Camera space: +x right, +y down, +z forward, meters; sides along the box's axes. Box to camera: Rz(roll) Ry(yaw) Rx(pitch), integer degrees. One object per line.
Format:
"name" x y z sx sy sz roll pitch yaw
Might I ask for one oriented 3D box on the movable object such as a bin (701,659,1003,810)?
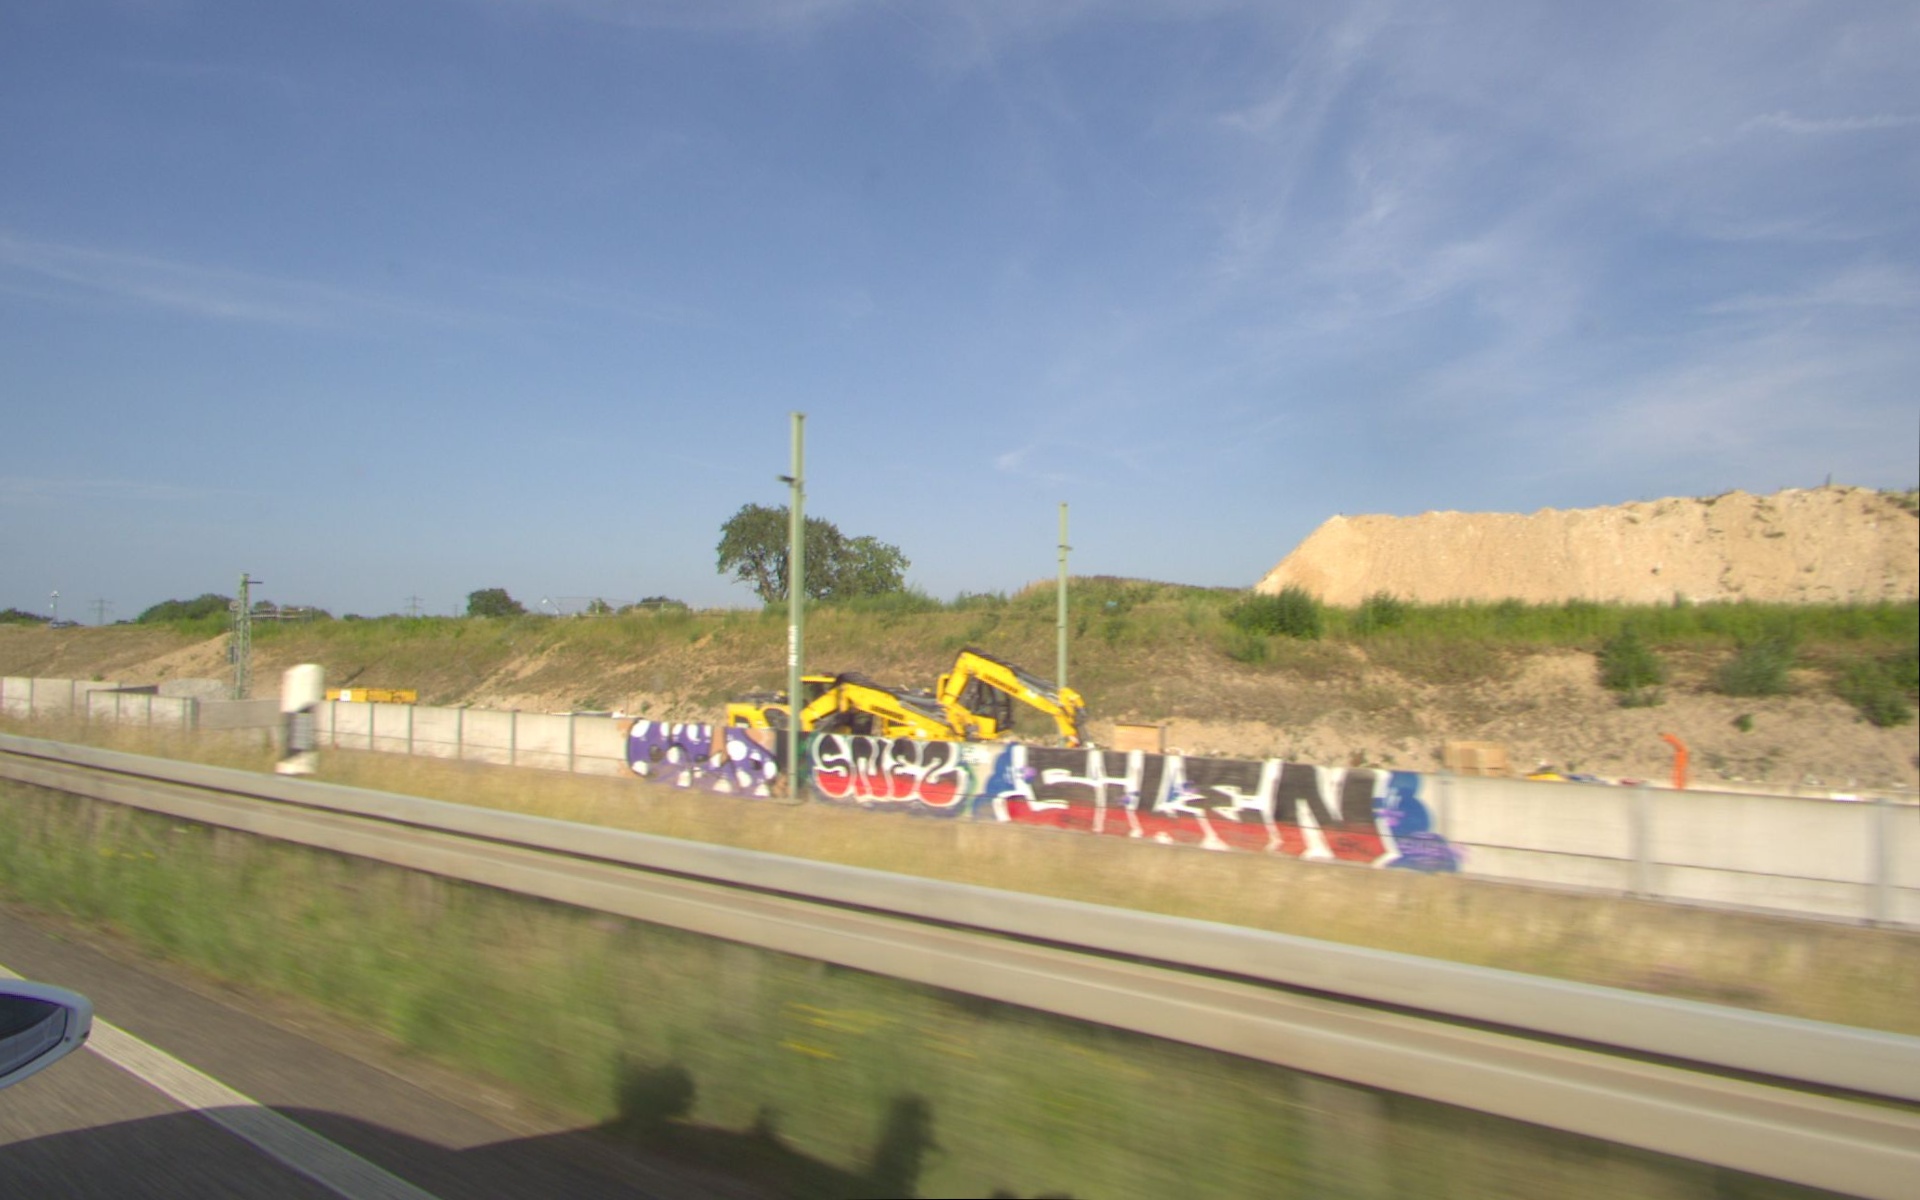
"movable object such as a bin" -2.977 3.278 26.263 7.957 3.280 2.618 -1 -2 32

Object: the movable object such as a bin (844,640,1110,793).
"movable object such as a bin" 0.399 3.185 29.419 7.429 3.935 2.792 -1 -2 32
